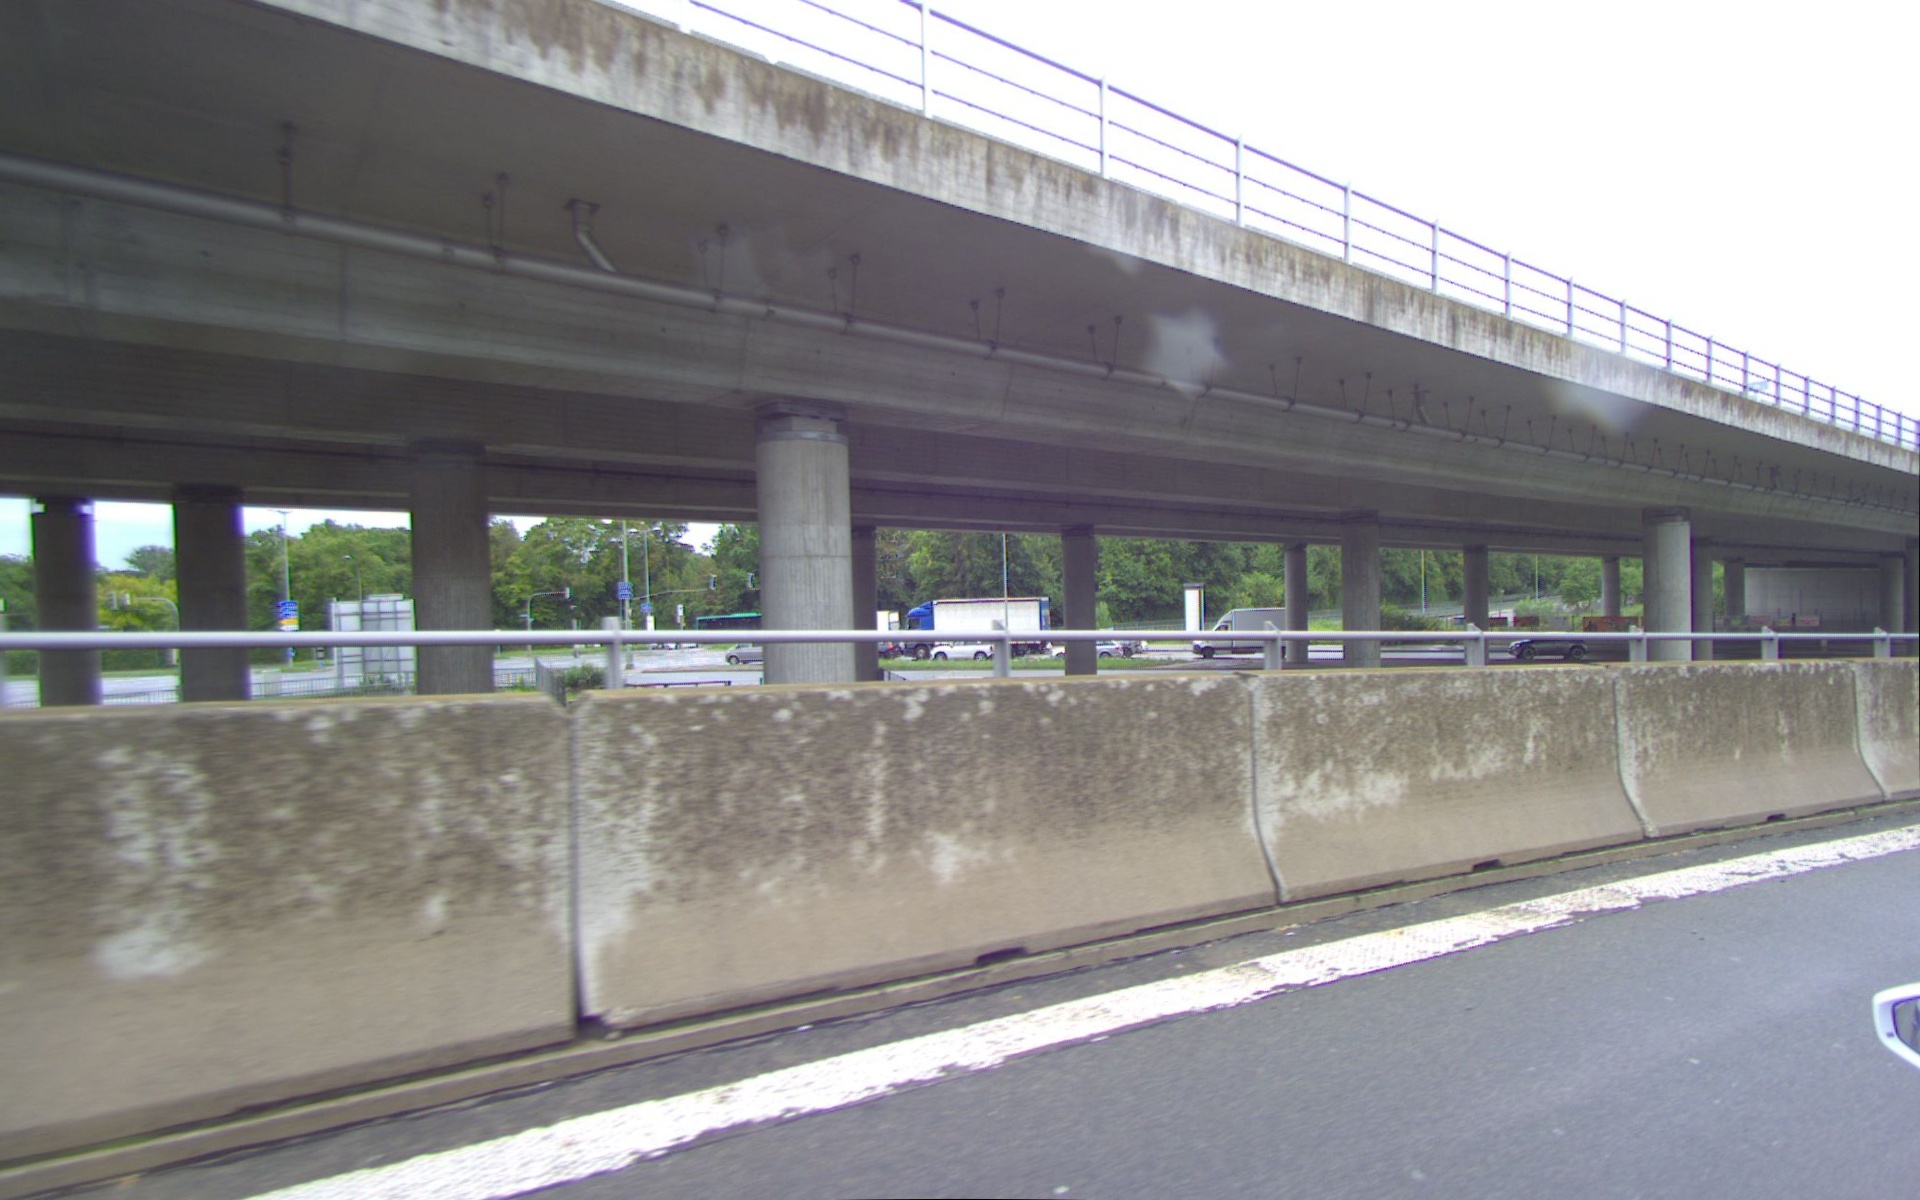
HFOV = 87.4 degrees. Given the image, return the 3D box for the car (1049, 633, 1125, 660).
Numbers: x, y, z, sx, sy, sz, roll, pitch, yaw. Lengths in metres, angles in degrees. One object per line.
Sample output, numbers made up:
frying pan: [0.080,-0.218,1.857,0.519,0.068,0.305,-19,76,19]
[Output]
car: [7.855,2.844,61.969,4.498,1.604,1.976,0,-1,14]

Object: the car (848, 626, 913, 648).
car: [-5.994,2.790,75.603,4.499,1.604,1.976,0,-1,17]

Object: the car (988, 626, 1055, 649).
car: [4.483,2.727,72.741,4.499,1.604,1.976,0,-1,17]

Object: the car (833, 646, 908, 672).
car: [-5.801,3.832,65.292,4.498,1.604,1.976,0,-1,15]

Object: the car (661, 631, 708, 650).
car: [-26.250,3.879,95.920,1.775,1.728,3.974,-3,-2,45]

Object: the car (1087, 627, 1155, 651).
car: [11.344,2.712,70.622,4.499,1.604,1.976,0,-1,17]

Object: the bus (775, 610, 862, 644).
bus: [-16.093,3.118,114.575,9.806,3.750,2.211,2,0,-33]

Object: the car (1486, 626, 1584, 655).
car: [32.959,2.299,57.740,4.498,1.604,1.976,0,-1,14]

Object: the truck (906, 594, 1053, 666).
truck: [1.296,1.975,67.058,9.409,4.652,2.800,0,-1,16]

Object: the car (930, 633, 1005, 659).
car: [0.496,2.919,64.205,4.498,1.604,1.976,0,-1,14]

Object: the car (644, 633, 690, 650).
car: [-28.704,4.078,98.445,1.775,1.583,3.974,-3,-2,45]

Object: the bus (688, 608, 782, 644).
bus: [-24.373,2.862,109.271,9.805,3.750,2.211,2,0,-33]

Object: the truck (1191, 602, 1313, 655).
truck: [18.035,1.717,62.056,7.090,3.016,2.260,1,-1,19]

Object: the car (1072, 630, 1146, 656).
car: [9.602,2.729,64.646,4.499,1.604,1.976,0,-1,17]

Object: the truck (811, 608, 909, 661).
truck: [-7.256,2.507,73.166,6.510,3.728,2.800,0,-1,16]

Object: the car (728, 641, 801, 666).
car: [-13.217,3.599,67.998,4.498,1.627,1.976,0,-1,14]
